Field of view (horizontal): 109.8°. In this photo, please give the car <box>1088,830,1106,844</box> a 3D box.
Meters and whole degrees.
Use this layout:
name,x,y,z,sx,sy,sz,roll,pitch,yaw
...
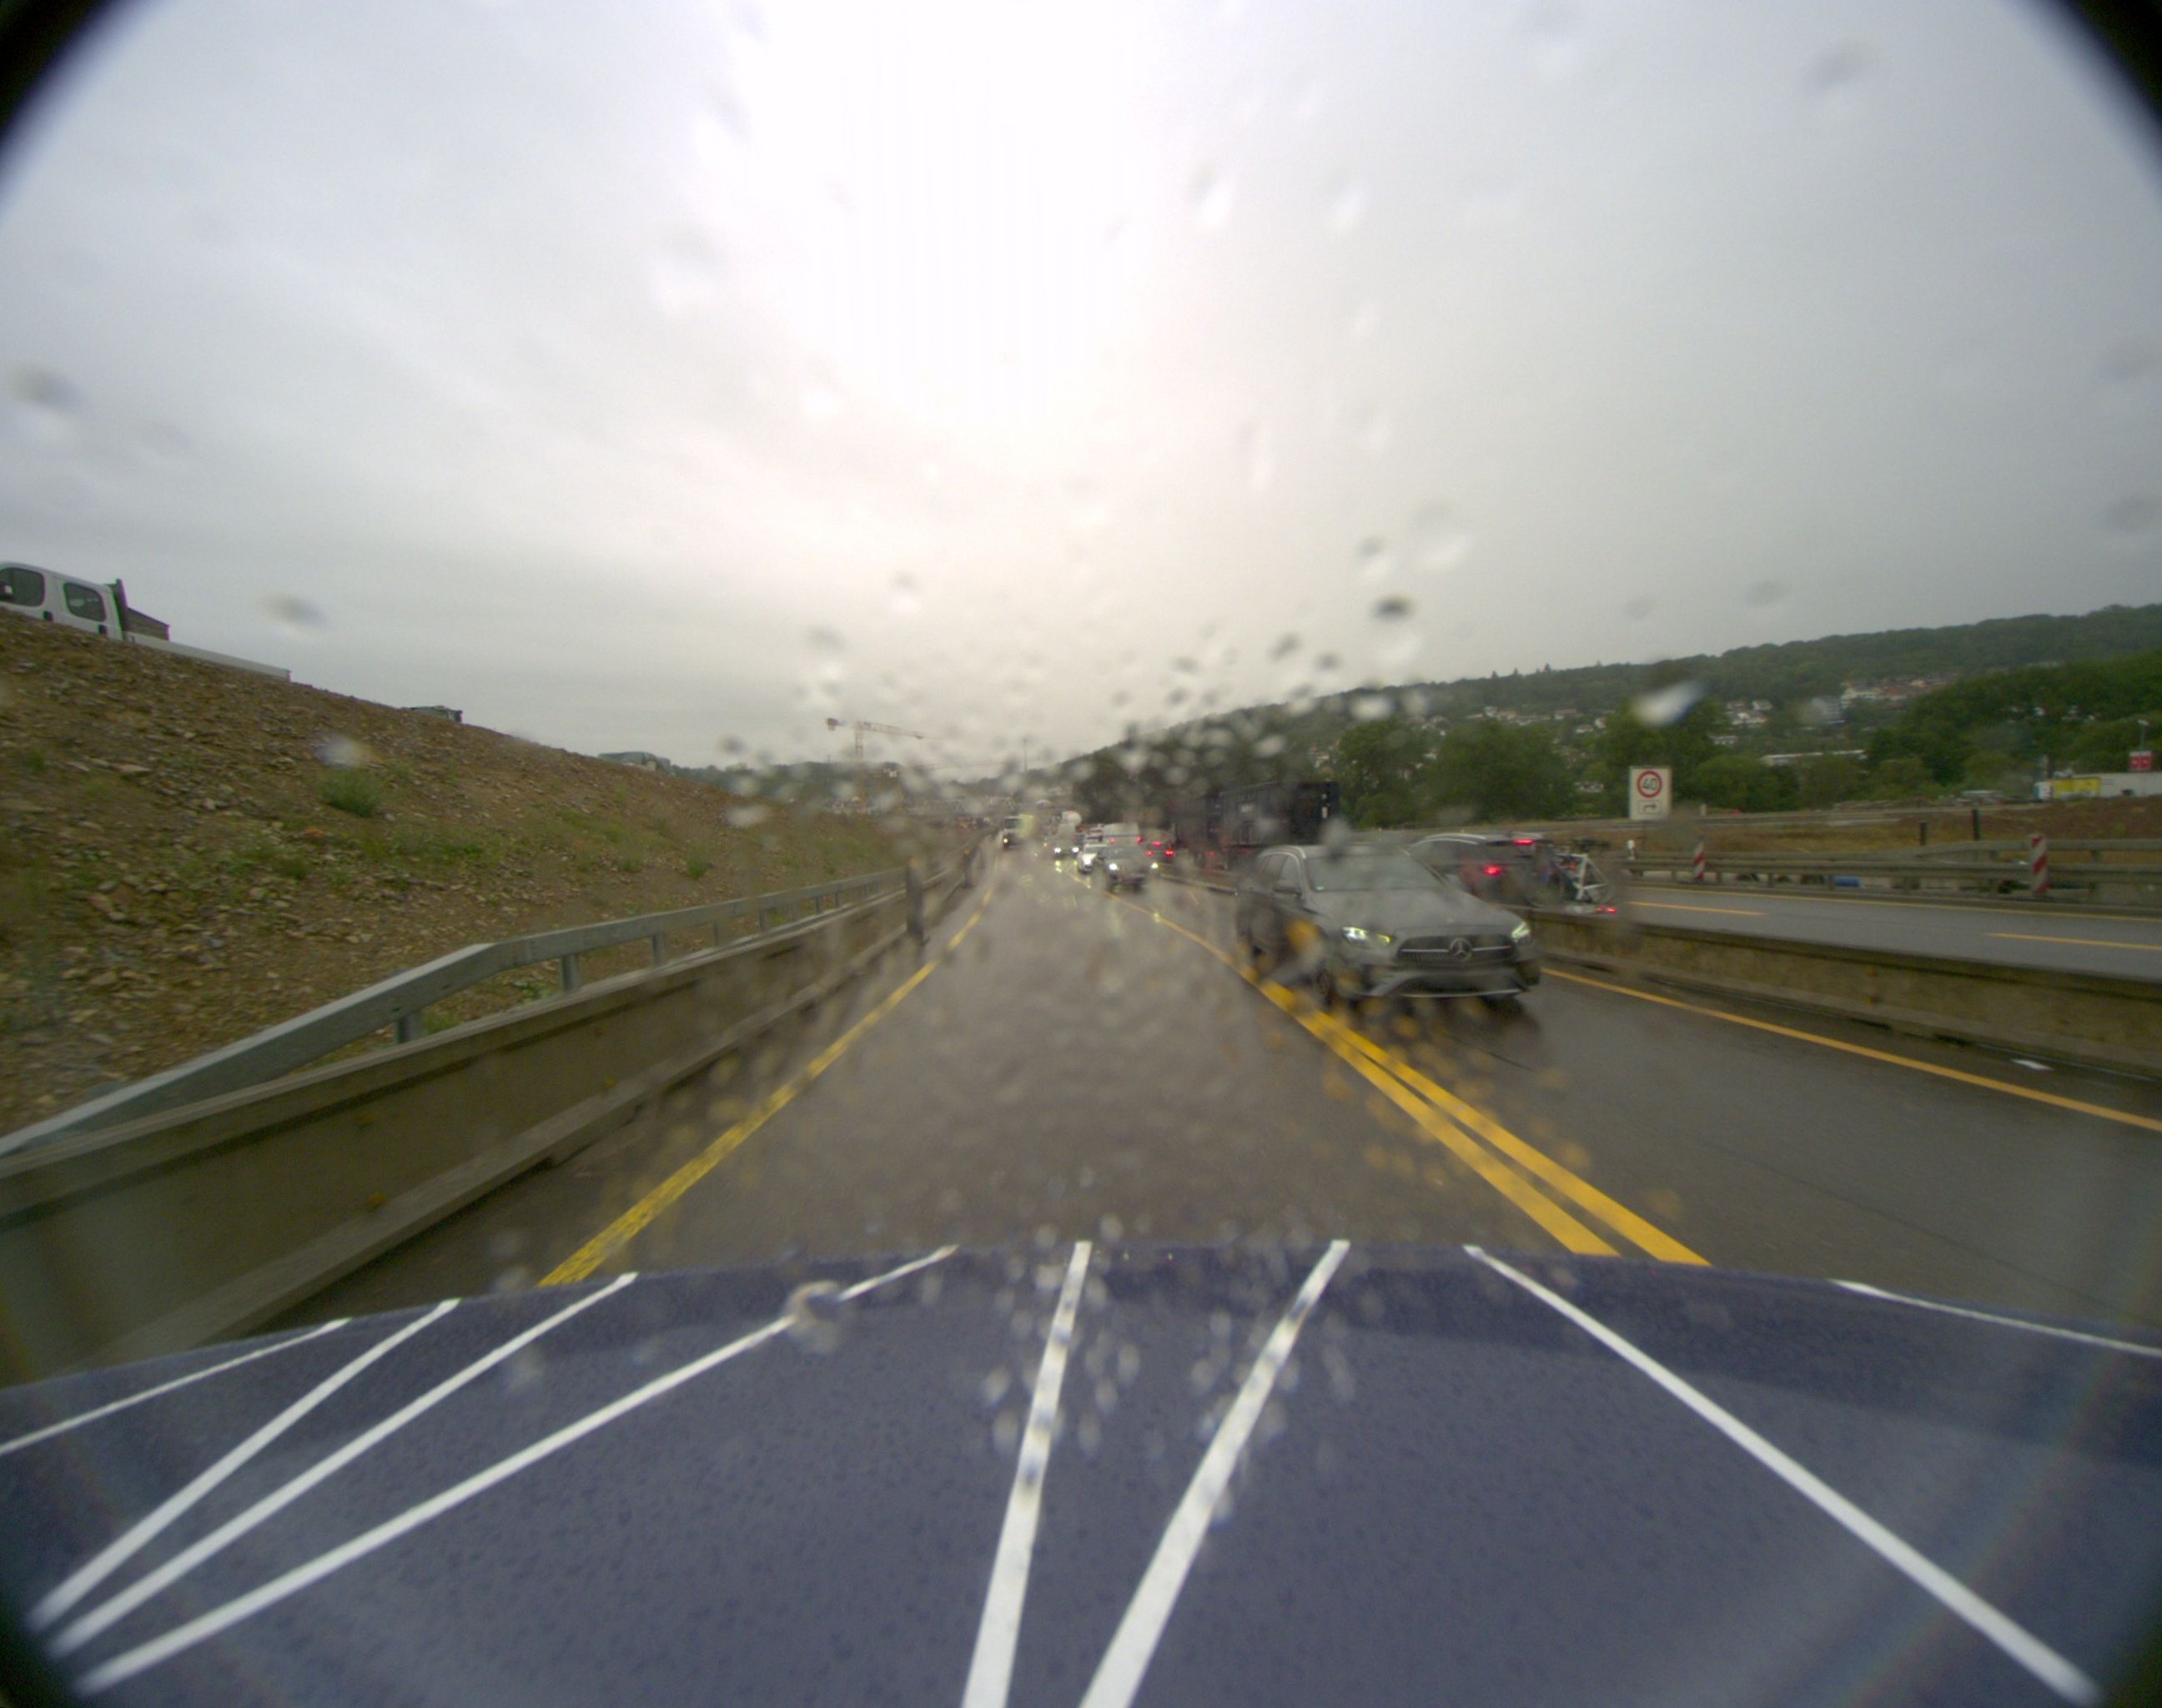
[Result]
name,x,y,z,sx,sy,sz,roll,pitch,yaw
car,1.980,-2.165,95.652,1.793,1.538,3.996,-2,3,-6

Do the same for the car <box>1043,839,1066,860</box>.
name,x,y,z,sx,sy,sz,roll,pitch,yaw
car,-2.614,-0.482,74.892,1.999,2.002,3.997,-2,1,-5

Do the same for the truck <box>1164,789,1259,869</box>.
name,x,y,z,sx,sy,sz,roll,pitch,yaw
truck,7.040,-1.309,42.580,2.650,3.948,9.205,-2,1,-6

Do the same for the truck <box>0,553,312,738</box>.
name,x,y,z,sx,sy,sz,roll,pitch,yaw
truck,-19.862,-3.922,14.954,2.653,2.541,6.976,-2,4,-6

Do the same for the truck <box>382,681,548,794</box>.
name,x,y,z,sx,sy,sz,roll,pitch,yaw
truck,-26.024,-4.783,32.531,2.380,4.196,5.972,-2,4,-6

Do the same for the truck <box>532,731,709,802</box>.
name,x,y,z,sx,sy,sz,roll,pitch,yaw
truck,-21.858,-4.045,36.982,3.405,2.860,8.951,-2,3,-3

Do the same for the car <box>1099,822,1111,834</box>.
name,x,y,z,sx,sy,sz,roll,pitch,yaw
car,3.965,-4.328,125.845,1.849,1.691,5.043,-1,3,1

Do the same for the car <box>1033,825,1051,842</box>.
name,x,y,z,sx,sy,sz,roll,pitch,yaw
car,-4.914,-2.506,94.849,1.999,2.002,4.184,-2,1,-6

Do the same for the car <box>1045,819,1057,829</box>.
name,x,y,z,sx,sy,sz,roll,pitch,yaw
car,-5.821,-5.826,146.802,1.871,1.790,4.158,-2,3,-6

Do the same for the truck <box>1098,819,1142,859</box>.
name,x,y,z,sx,sy,sz,roll,pitch,yaw
truck,2.723,-1.107,54.747,2.154,2.698,6.010,-2,2,-6

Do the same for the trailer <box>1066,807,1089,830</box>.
name,x,y,z,sx,sy,sz,roll,pitch,yaw
trailer,-0.758,-6.148,129.516,2.628,3.658,11.989,-2,3,-6

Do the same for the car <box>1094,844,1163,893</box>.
name,x,y,z,sx,sy,sz,roll,pitch,yaw
car,1.552,0.459,26.251,1.782,1.514,4.138,-2,0,-5

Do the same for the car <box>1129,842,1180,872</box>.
name,x,y,z,sx,sy,sz,roll,pitch,yaw
car,3.988,0.117,42.099,1.874,1.463,4.666,-2,1,-6

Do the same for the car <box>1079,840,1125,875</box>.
name,x,y,z,sx,sy,sz,roll,pitch,yaw
car,0.984,0.123,37.749,1.782,1.431,4.479,-2,3,-5

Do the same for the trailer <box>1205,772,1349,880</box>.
name,x,y,z,sx,sy,sz,roll,pitch,yaw
trailer,8.111,-1.128,33.171,2.754,3.948,9.666,-2,1,-6

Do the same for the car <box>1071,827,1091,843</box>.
name,x,y,z,sx,sy,sz,roll,pitch,yaw
car,-0.033,-2.060,81.604,1.792,1.530,4.307,-1,3,-6

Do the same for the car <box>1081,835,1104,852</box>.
name,x,y,z,sx,sy,sz,roll,pitch,yaw
car,1.030,-0.987,71.559,1.682,1.515,4.341,-1,2,-6

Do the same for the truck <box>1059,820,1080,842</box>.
name,x,y,z,sx,sy,sz,roll,pitch,yaw
truck,-1.548,-2.918,96.650,2.085,2.562,5.955,-2,4,-6

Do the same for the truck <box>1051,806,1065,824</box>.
name,x,y,z,sx,sy,sz,roll,pitch,yaw
truck,-5.604,-9.422,183.237,2.757,4.041,6.141,-2,4,-5

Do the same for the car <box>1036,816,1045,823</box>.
name,x,y,z,sx,sy,sz,roll,pitch,yaw
car,-10.491,-9.068,197.580,1.999,1.750,4.682,-2,3,-5

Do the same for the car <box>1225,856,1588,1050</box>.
name,x,y,z,sx,sy,sz,roll,pitch,yaw
car,3.056,0.799,8.349,1.952,1.430,4.482,-2,1,-2

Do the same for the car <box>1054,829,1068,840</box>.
name,x,y,z,sx,sy,sz,roll,pitch,yaw
car,-2.988,-2.942,113.070,1.778,1.496,4.674,-1,3,-6

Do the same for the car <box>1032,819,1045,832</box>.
name,x,y,z,sx,sy,sz,roll,pitch,yaw
car,-7.305,-4.918,129.847,2.000,2.003,3.995,-2,4,-6

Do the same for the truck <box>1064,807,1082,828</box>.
name,x,y,z,sx,sy,sz,roll,pitch,yaw
truck,-1.493,-6.528,136.043,2.628,3.658,6.587,-2,3,-6

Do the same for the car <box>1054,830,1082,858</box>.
name,x,y,z,sx,sy,sz,roll,pitch,yaw
car,-1.018,-0.831,58.402,1.999,2.003,3.997,-1,3,-1

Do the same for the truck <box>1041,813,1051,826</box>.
name,x,y,z,sx,sy,sz,roll,pitch,yaw
truck,-10.719,-10.568,229.952,2.694,3.906,5.267,0,4,-6

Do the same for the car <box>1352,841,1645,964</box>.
name,x,y,z,sx,sy,sz,roll,pitch,yaw
car,6.919,0.636,13.520,1.743,1.675,5.548,-2,1,-5

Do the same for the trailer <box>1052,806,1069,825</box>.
name,x,y,z,sx,sy,sz,roll,pitch,yaw
trailer,-4.897,-8.978,175.524,2.757,4.021,15.341,-2,3,-5

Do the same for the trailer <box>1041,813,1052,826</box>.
name,x,y,z,sx,sy,sz,roll,pitch,yaw
trailer,-10.205,-10.271,224.985,2.694,3.942,9.808,0,3,-6

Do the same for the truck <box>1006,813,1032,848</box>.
name,x,y,z,sx,sy,sz,roll,pitch,yaw
truck,-6.547,-2.528,80.559,2.577,3.452,6.619,-2,4,-5
